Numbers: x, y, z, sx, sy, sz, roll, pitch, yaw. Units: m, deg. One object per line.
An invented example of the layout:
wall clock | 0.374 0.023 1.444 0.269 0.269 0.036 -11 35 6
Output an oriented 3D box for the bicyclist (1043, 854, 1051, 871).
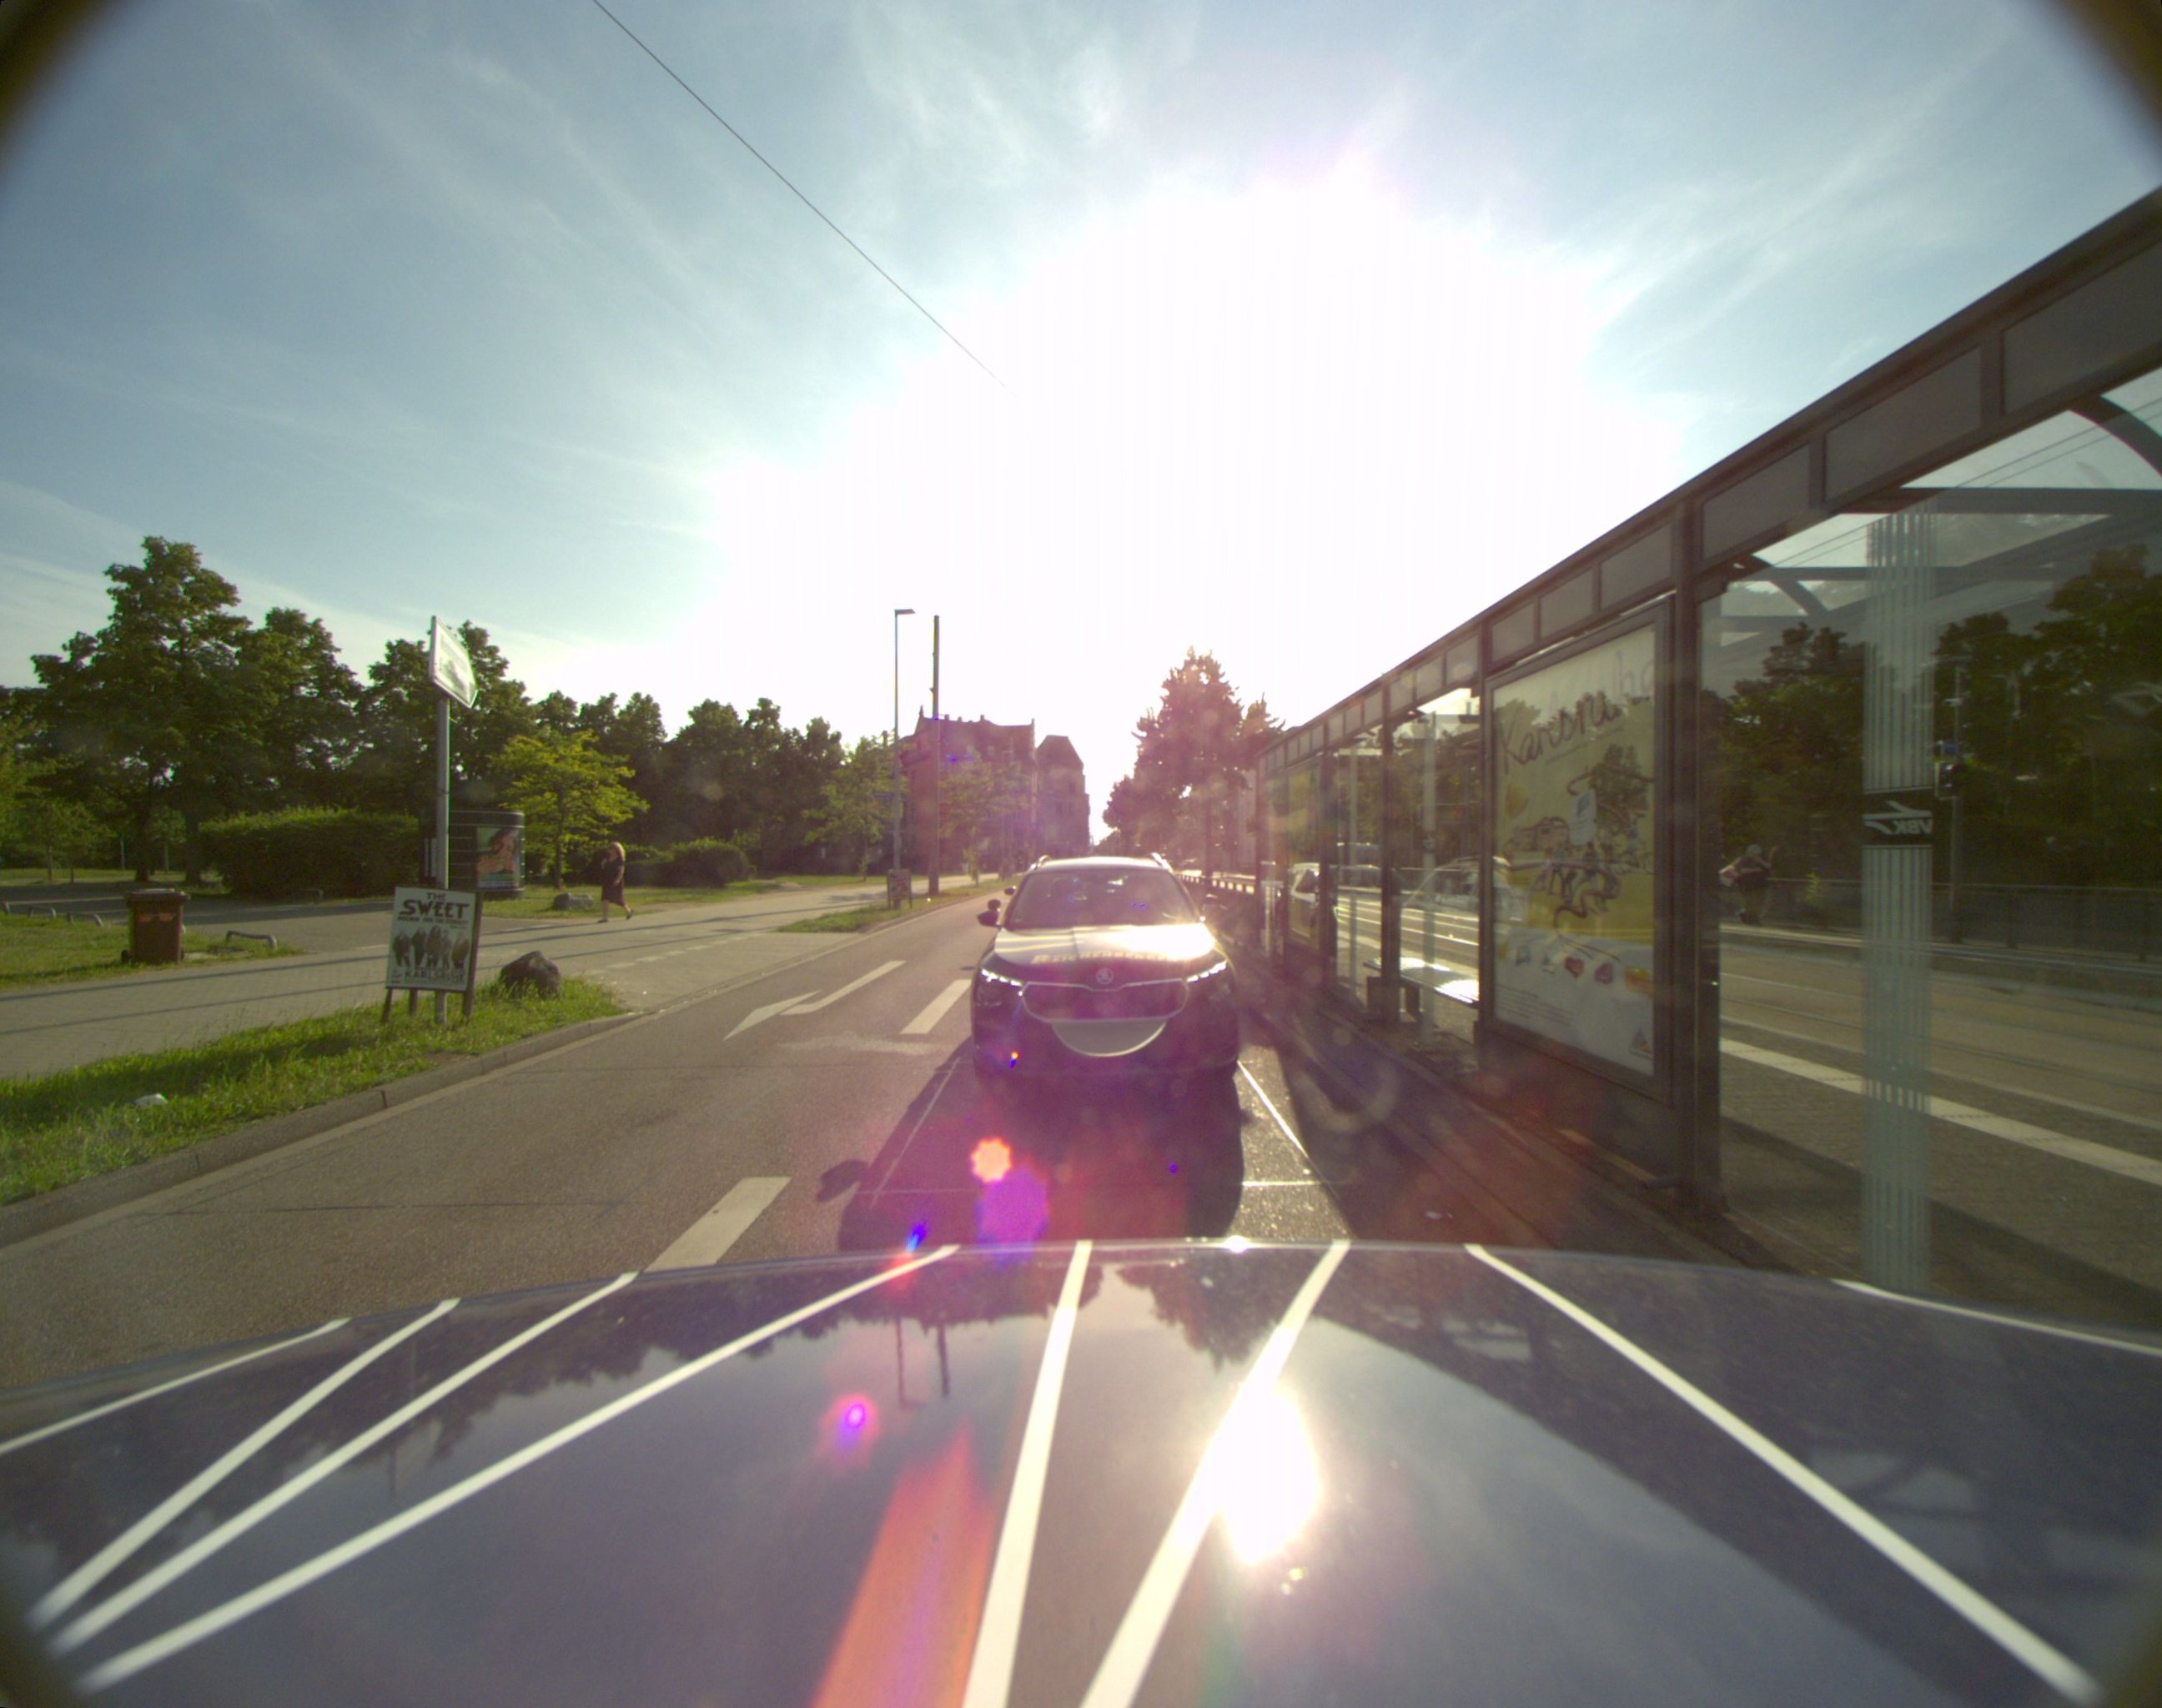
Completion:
bicyclist | -3.502 0.858 78.765 0.730 1.763 1.015 0 0 -1

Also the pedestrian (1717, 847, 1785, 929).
pedestrian | 13.370 0.665 15.184 0.736 1.618 0.689 0 1 1

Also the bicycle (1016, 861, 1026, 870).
bicycle | -6.021 1.162 76.844 0.740 0.912 2.095 0 0 3

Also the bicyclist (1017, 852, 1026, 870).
bicyclist | -6.016 0.722 77.189 0.753 1.763 1.119 0 0 4

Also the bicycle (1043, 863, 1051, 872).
bicycle | -3.502 1.374 78.573 0.740 0.912 2.094 0 0 0

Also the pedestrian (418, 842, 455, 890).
pedestrian | -28.875 0.528 34.049 0.910 2.145 0.891 0 0 13

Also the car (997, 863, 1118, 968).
car | -0.326 0.932 13.246 1.781 1.496 4.000 0 0 1

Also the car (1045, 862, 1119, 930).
car | 0.052 0.963 19.090 1.672 1.496 3.872 0 0 1

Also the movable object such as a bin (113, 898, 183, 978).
movable object such as a bin | -11.365 1.010 9.263 0.502 0.898 0.526 1 1 39

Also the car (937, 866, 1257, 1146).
car | 0.111 0.885 6.248 1.781 1.496 4.000 0 0 1

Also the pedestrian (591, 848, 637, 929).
pedestrian | -9.906 0.721 16.141 0.558 1.691 0.662 0 1 0

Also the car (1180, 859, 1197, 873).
car | 16.261 1.845 115.029 1.998 2.002 4.000 0 0 0

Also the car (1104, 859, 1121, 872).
car | 4.201 1.530 101.321 1.999 1.674 3.999 0 0 -1
